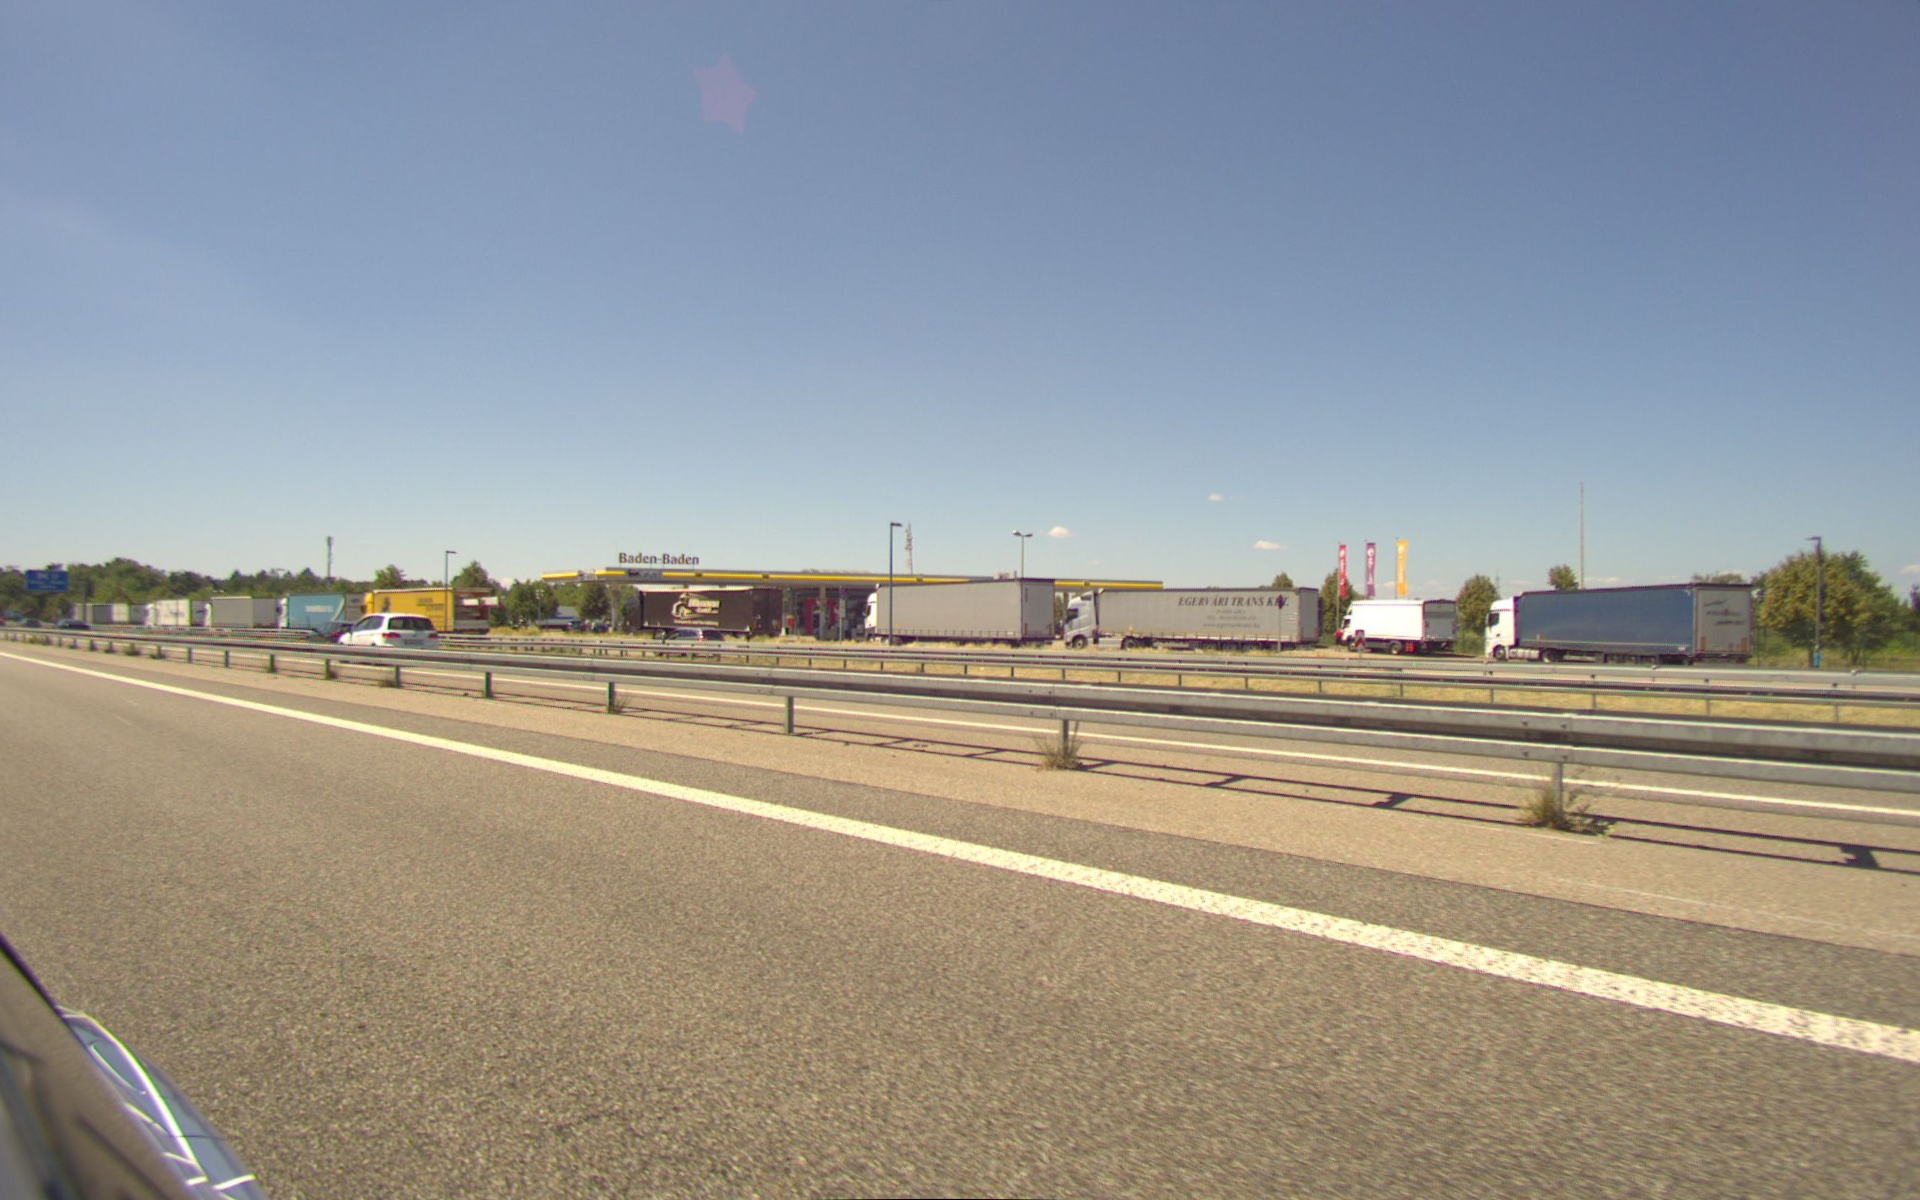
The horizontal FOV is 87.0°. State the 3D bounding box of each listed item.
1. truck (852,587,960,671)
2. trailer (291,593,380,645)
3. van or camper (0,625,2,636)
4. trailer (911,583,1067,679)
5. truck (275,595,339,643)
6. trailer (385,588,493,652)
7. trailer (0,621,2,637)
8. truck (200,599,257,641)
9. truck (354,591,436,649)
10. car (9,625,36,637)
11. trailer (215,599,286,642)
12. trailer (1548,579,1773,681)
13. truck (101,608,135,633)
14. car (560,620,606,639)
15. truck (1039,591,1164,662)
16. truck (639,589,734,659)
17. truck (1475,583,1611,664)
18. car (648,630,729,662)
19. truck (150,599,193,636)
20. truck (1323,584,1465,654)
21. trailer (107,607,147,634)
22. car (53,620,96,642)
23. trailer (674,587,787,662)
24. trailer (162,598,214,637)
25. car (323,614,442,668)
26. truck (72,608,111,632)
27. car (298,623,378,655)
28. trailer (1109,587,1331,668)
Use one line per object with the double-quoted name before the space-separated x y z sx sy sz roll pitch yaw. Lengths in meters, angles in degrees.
"truck" -3.513 1.732 63.934 3.257 4.886 7.645 -1 0 -34
"trailer" -53.396 1.600 86.313 12.074 4.180 2.805 -1 0 40
"van or camper" -156.150 4.889 163.304 4.744 1.853 1.877 -1 -1 41
"trailer" 1.417 1.644 57.287 3.259 4.911 9.701 -1 0 -39
"truck" -58.468 1.707 90.551 7.084 4.104 2.821 -1 0 40
"trailer" -37.318 1.386 72.209 11.074 4.251 2.805 -1 0 40
"trailer" -152.609 4.592 160.284 1.997 2.387 1.155 -1 -2 41
"truck" -77.512 2.111 107.214 7.498 4.189 3.086 -1 0 40
"truck" -43.085 1.502 77.111 7.913 4.232 2.804 -1 0 40
"car" -107.169 3.584 115.700 4.316 1.286 1.723 -1 -4 41
"trailer" -72.103 2.058 102.709 11.006 4.189 3.082 -1 0 40
"trailer" 33.333 1.257 49.054 3.122 4.298 11.063 -1 0 0
"truck" -143.031 3.442 171.836 8.311 4.183 3.063 -1 0 41
"car" -42.718 3.347 114.694 4.797 2.003 1.956 -1 0 -18
"truck" 9.272 1.673 66.767 7.625 4.390 3.265 -1 0 43
"truck" -20.309 1.713 74.760 7.878 4.886 2.993 -1 0 43
"truck" 32.797 1.237 57.324 3.124 4.283 6.658 -1 0 -9
"car" -13.985 2.330 52.069 4.506 1.500 1.794 -1 0 41
"truck" -94.710 2.078 121.518 7.931 4.220 2.555 -1 0 41
"truck" 29.597 1.203 69.779 3.008 4.390 10.745 -1 0 -14
"trailer" -137.875 3.348 167.372 12.003 4.187 3.062 -1 0 41
"car" -73.305 2.535 83.741 5.013 1.659 1.952 -1 0 41
"trailer" -16.202 1.661 70.959 9.133 4.886 3.000 -1 0 43
"trailer" -89.056 1.986 116.687 10.508 4.250 2.572 -1 0 41
"car" -17.774 1.232 31.075 4.664 1.541 1.699 -1 -4 41
"truck" -138.923 3.172 161.851 13.598 3.670 2.770 -1 0 41
"car" -28.638 1.781 46.549 4.544 1.409 1.849 -1 -4 41
"trailer" 15.338 1.567 61.091 12.921 4.390 3.265 -1 0 43
